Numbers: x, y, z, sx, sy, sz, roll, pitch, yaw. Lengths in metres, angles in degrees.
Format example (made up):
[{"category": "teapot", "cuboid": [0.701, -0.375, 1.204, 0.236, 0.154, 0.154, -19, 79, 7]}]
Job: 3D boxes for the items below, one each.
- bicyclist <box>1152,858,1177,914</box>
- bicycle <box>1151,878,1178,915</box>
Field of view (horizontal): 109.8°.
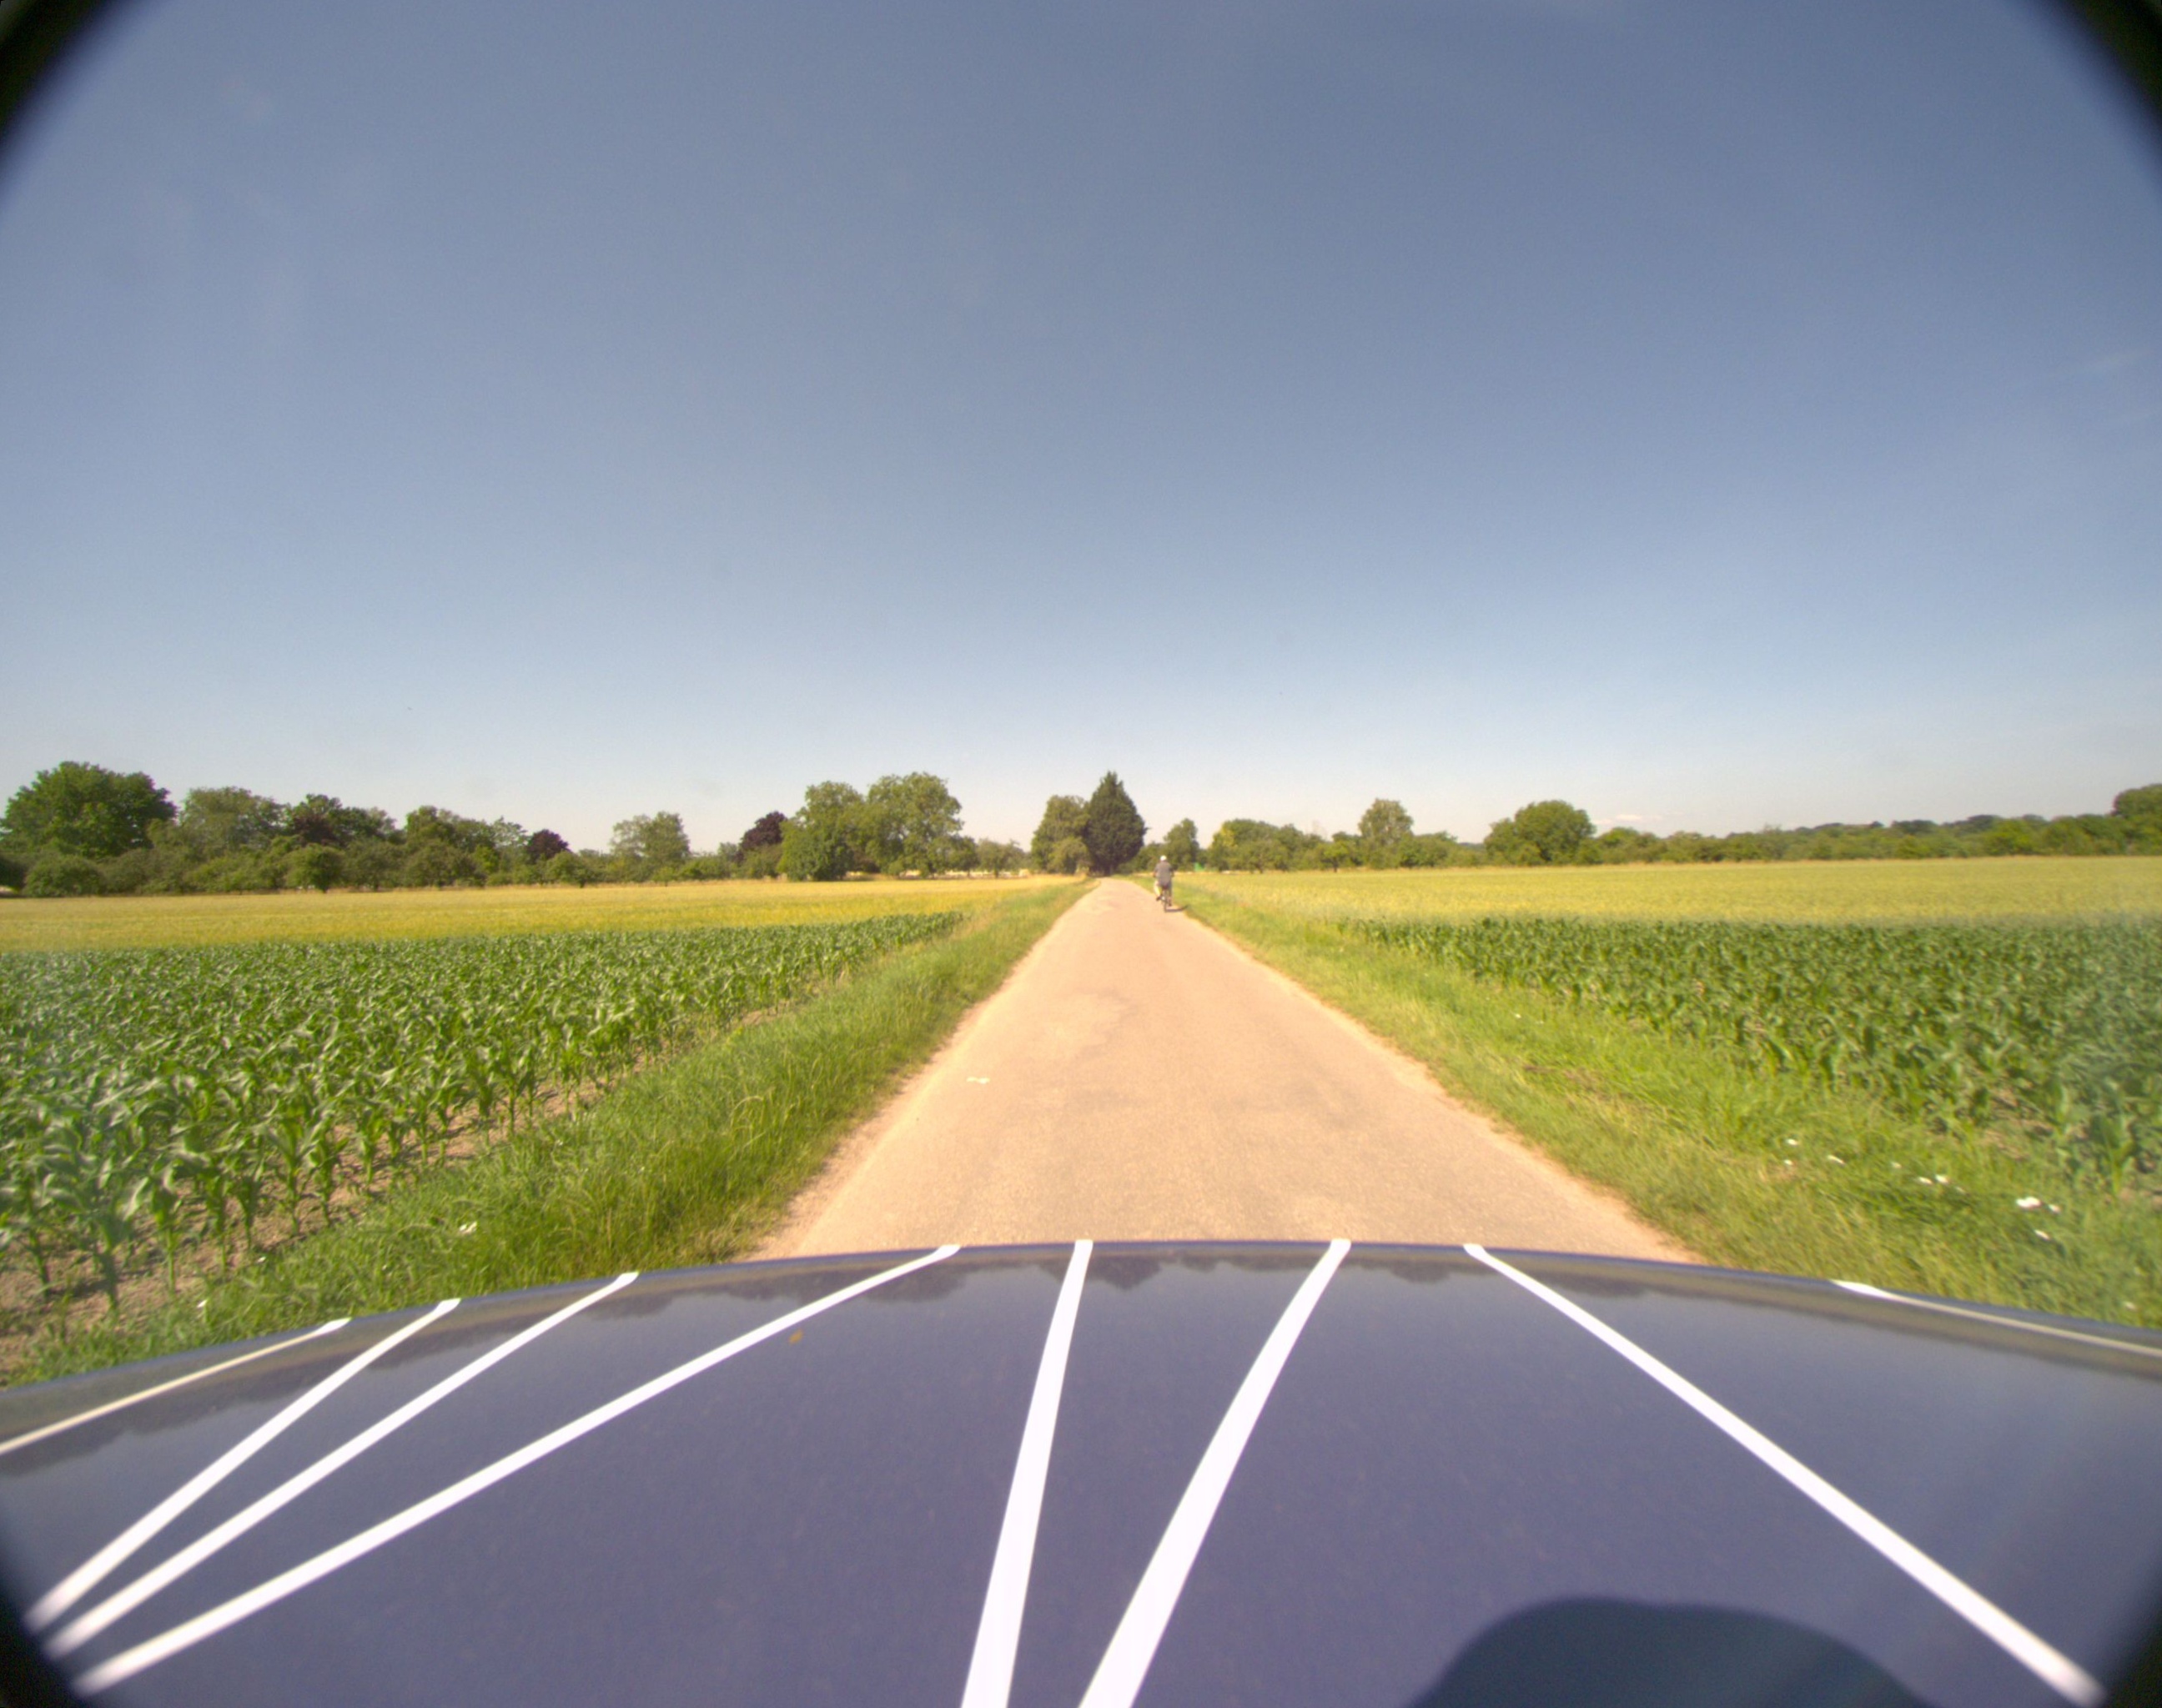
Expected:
[{"category": "bicyclist", "cuboid": [2.719, 1.036, 24.876, 0.752, 1.781, 0.717, 1, 0, 3]}, {"category": "bicycle", "cuboid": [2.721, 1.370, 24.912, 0.752, 1.121, 1.909, 1, 0, 3]}]
